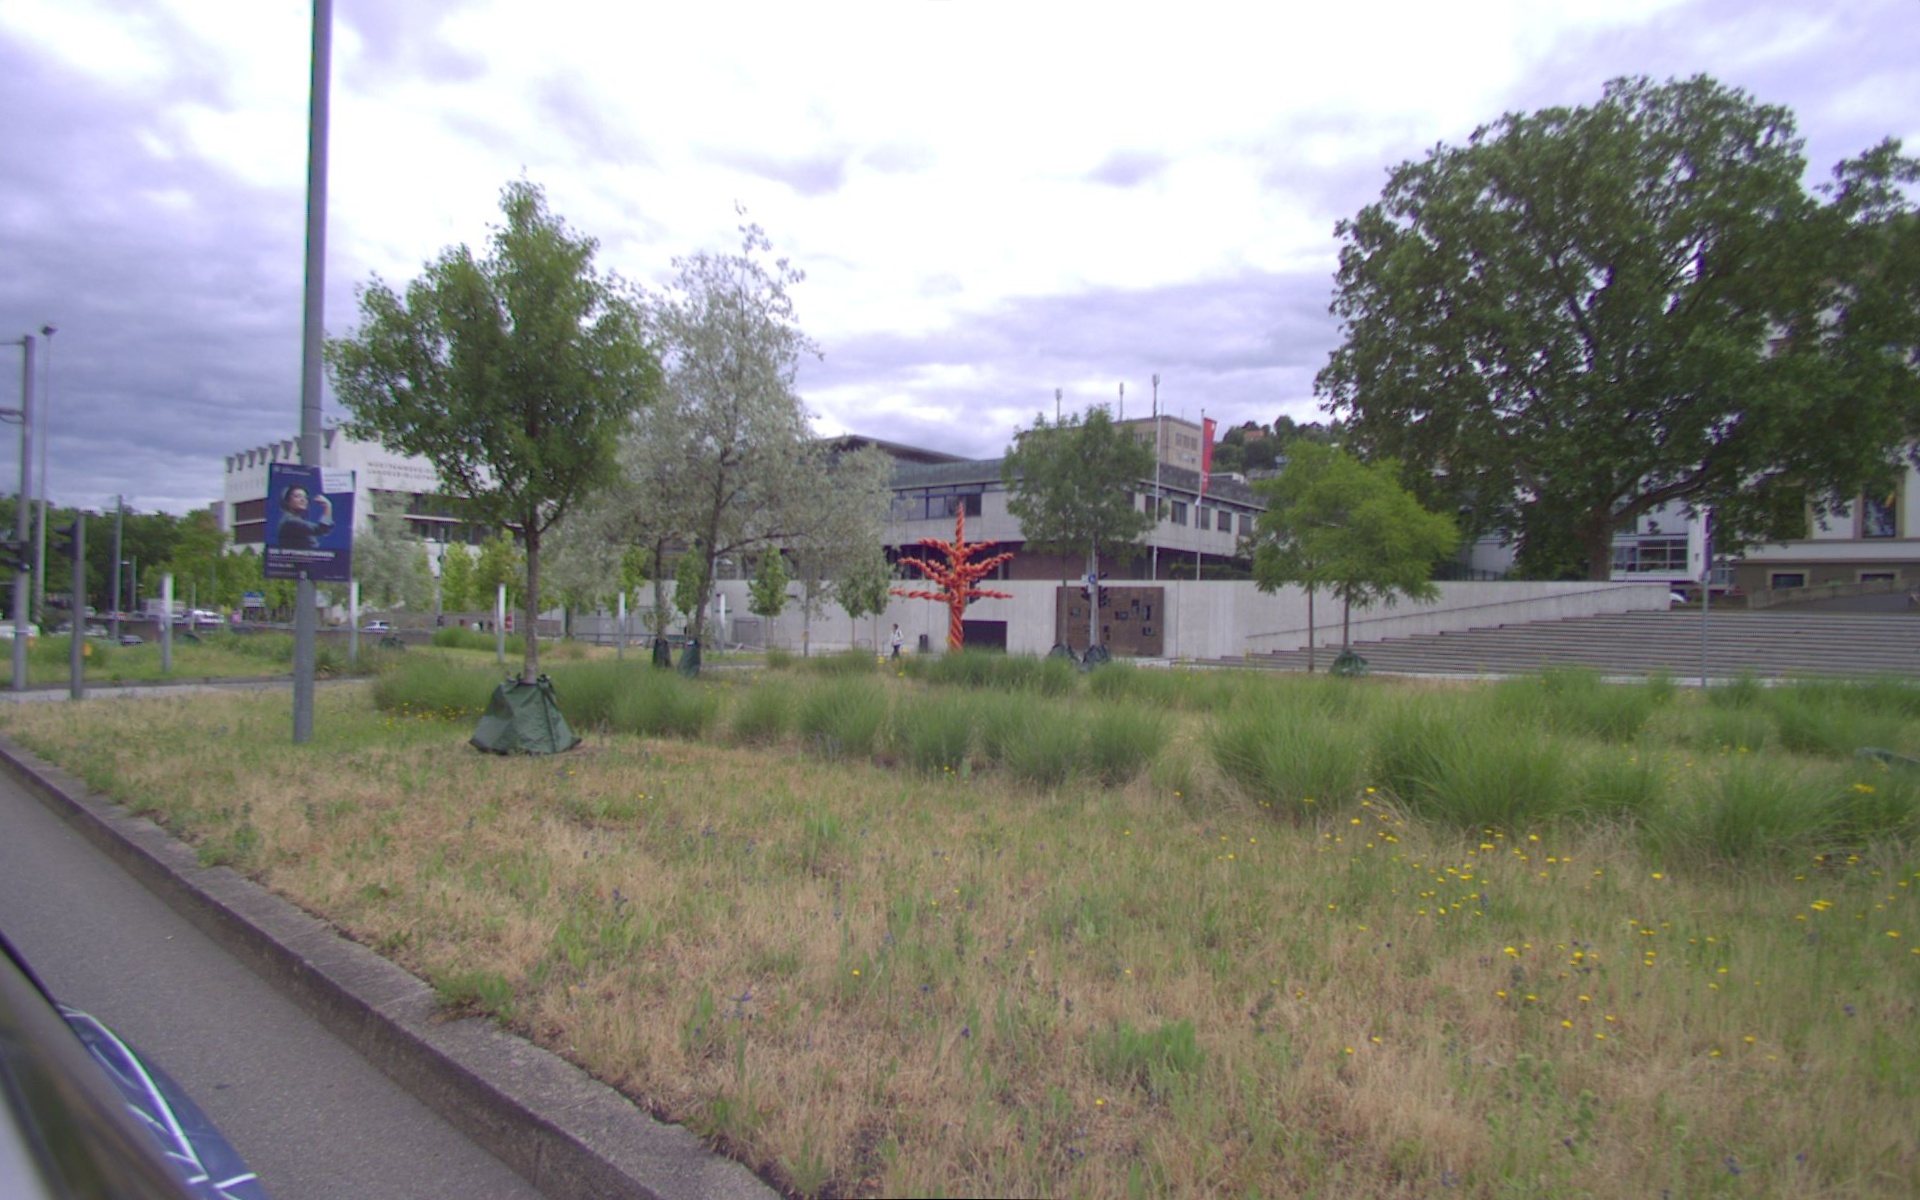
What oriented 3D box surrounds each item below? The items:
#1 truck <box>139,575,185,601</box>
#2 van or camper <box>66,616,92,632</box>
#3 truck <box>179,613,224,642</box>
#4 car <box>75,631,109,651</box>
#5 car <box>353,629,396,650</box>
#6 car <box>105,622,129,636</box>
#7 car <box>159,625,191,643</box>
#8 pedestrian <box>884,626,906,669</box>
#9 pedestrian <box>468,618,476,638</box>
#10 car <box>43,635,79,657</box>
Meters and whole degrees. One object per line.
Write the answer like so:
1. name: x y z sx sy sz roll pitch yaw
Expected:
1. truck: -96.603 -1.387 122.451 7.252 2.809 3.196 -2 -2 42
2. van or camper: -115.036 3.104 132.186 4.554 2.029 1.973 -2 -2 41
3. truck: -76.560 2.817 102.113 7.077 2.838 2.437 -2 -2 43
4. car: -89.440 4.215 104.303 3.998 2.029 1.973 -2 -5 41
5. car: -46.954 3.168 81.113 4.611 1.586 1.700 -2 -2 42
6. car: -101.435 3.485 121.733 4.269 1.586 1.700 -2 -2 42
7. car: -84.861 3.680 109.443 4.256 1.830 1.973 -2 -2 41
8. pedestrian: -2.642 1.924 41.102 0.663 1.747 0.534 -2 -2 41
9. pedestrian: -38.531 2.226 79.867 0.461 1.533 0.424 -1 -1 35
10. car: -87.002 4.446 97.928 4.330 2.029 1.973 -2 -5 41
